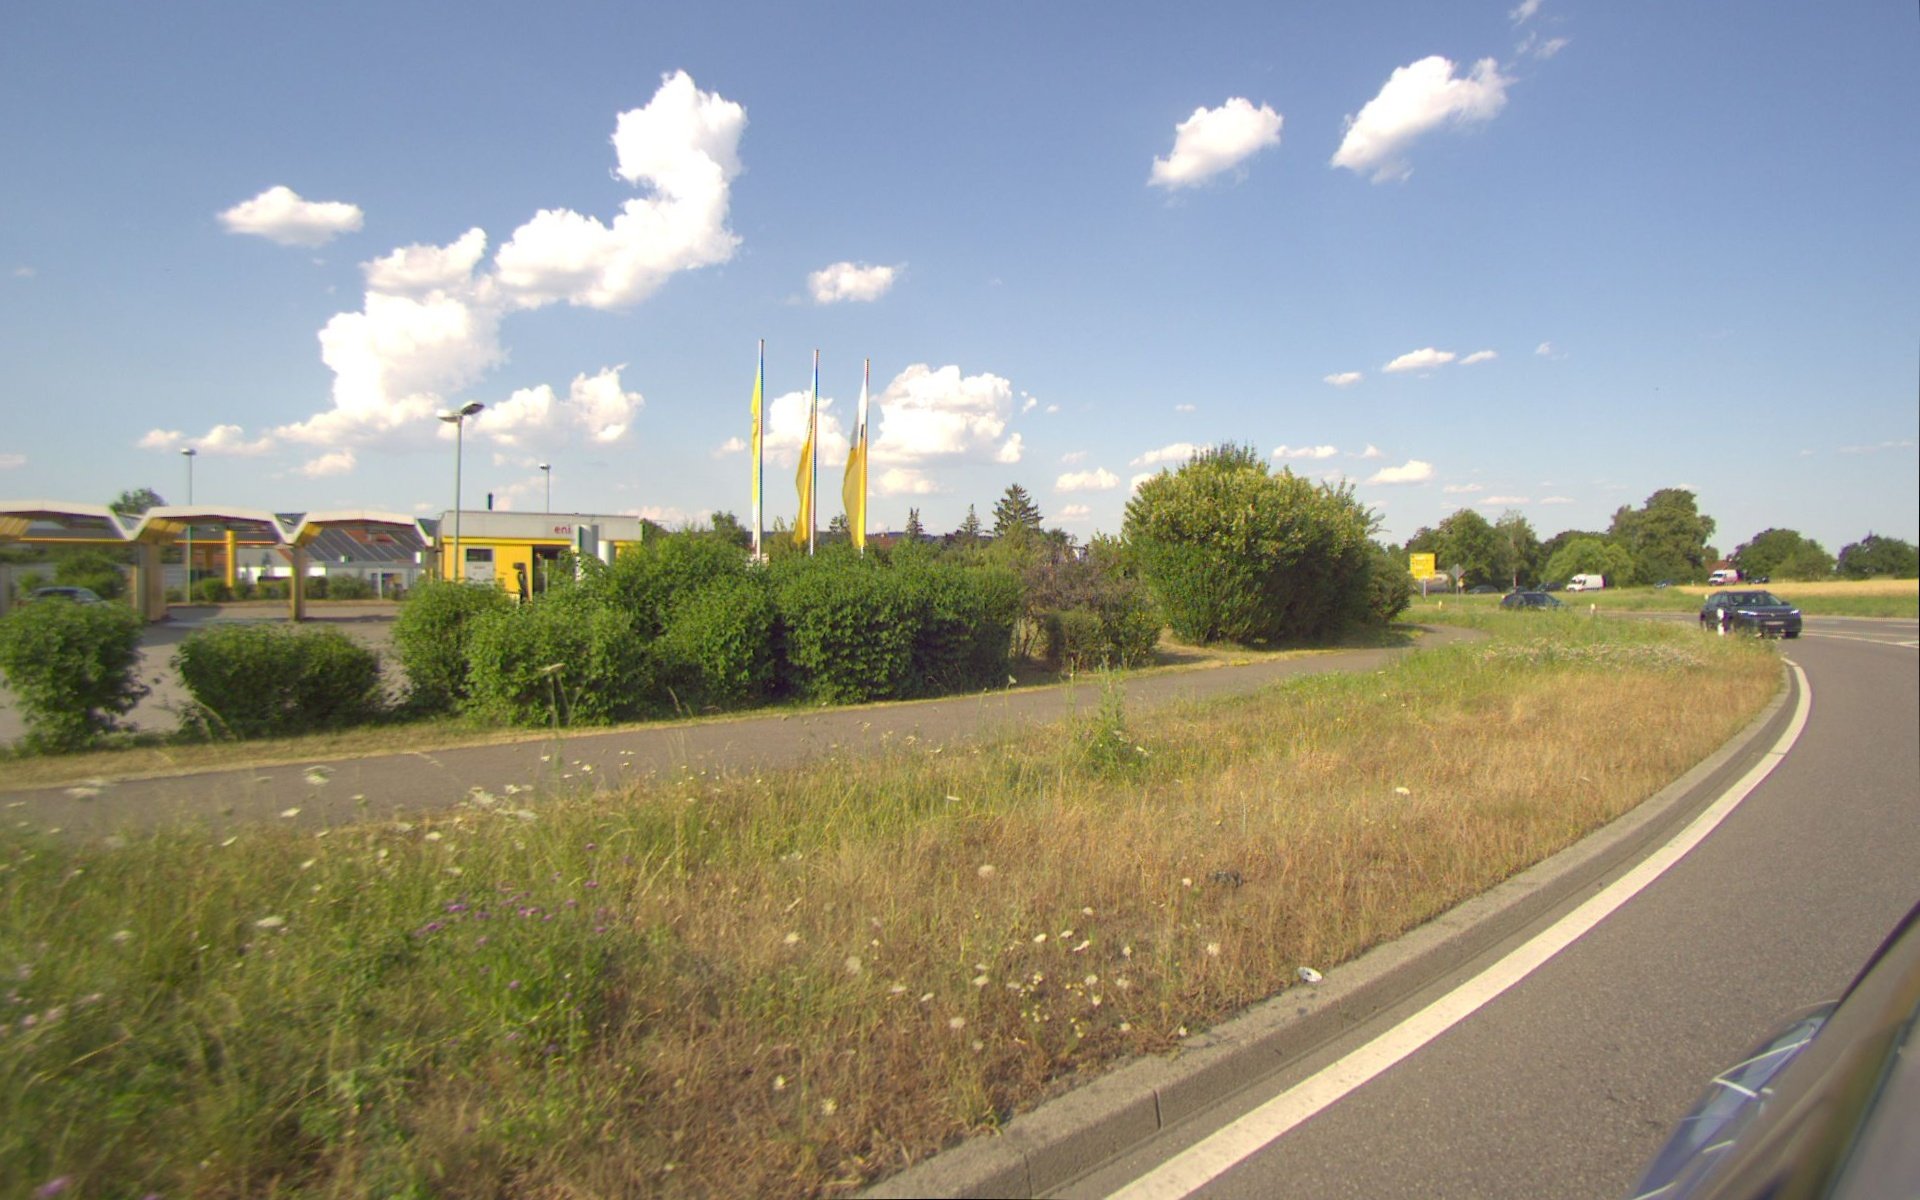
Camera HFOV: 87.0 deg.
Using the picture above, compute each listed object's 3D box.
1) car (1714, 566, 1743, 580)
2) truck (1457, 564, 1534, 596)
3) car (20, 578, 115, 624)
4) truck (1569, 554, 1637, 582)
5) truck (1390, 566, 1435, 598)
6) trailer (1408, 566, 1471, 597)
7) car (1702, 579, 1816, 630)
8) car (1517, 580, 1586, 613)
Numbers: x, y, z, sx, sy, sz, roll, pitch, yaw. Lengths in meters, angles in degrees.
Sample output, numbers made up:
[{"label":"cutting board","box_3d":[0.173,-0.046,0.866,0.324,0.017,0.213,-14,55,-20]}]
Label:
[{"label":"car","box_3d":[126.237,-4.400,166.208,3.917,2.041,2.001,0,-9,-25]},{"label":"truck","box_3d":[73.298,-2.739,138.365,12.640,3.822,2.532,-2,-2,-29]},{"label":"car","box_3d":[-32.673,0.069,37.180,1.768,1.558,4.346,-2,-1,-30]},{"label":"truck","box_3d":[95.493,-4.754,150.166,12.640,3.822,2.533,-2,0,-29]},{"label":"truck","box_3d":[57.790,-2.310,129.091,5.572,3.853,2.265,-2,0,-29]},{"label":"trailer","box_3d":[62.431,-2.445,131.694,9.334,3.826,2.268,-2,-1,-29]},{"label":"car","box_3d":[27.725,0.129,35.296,1.767,1.650,4.438,-2,0,21]},{"label":"car","box_3d":[30.913,-0.189,53.059,1.749,1.633,4.530,-2,0,12]}]
